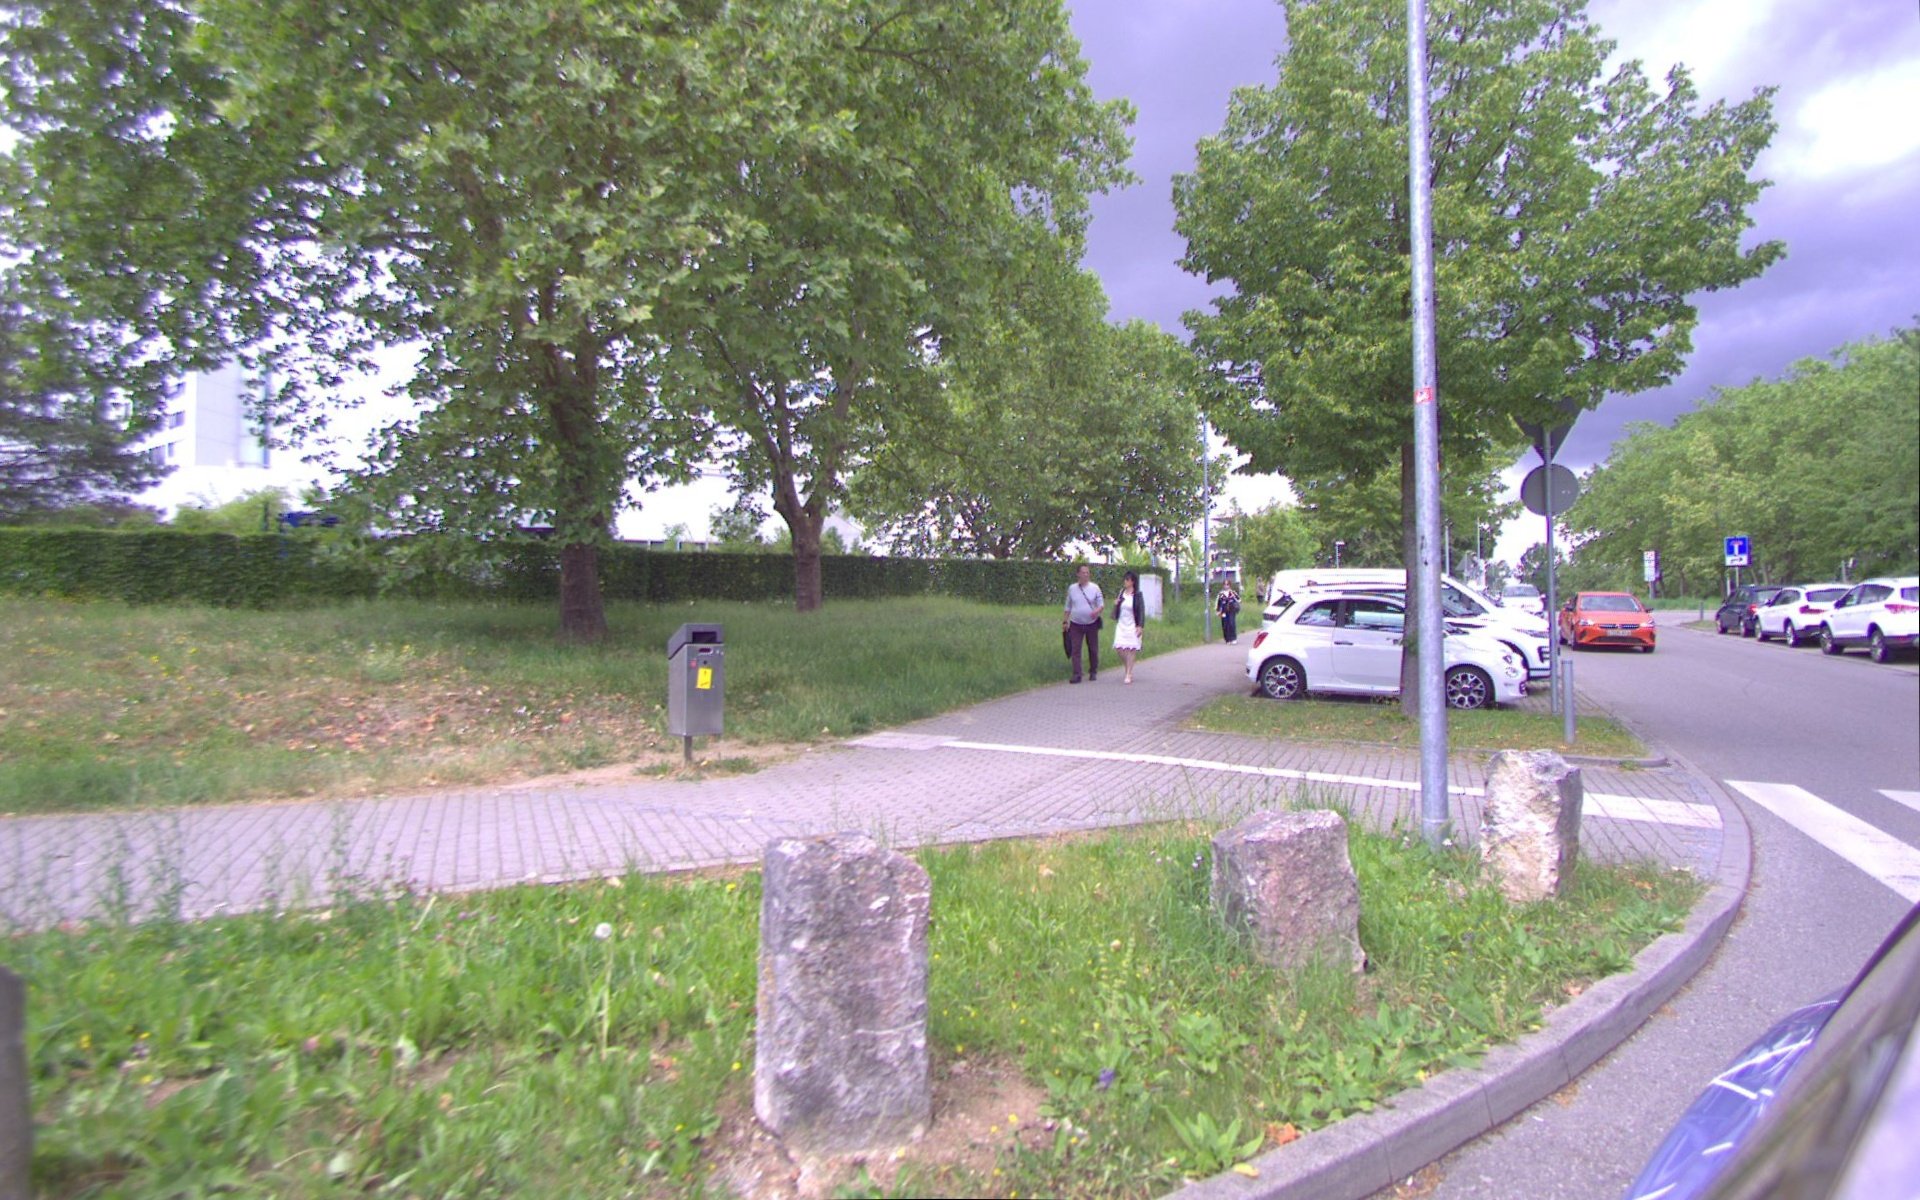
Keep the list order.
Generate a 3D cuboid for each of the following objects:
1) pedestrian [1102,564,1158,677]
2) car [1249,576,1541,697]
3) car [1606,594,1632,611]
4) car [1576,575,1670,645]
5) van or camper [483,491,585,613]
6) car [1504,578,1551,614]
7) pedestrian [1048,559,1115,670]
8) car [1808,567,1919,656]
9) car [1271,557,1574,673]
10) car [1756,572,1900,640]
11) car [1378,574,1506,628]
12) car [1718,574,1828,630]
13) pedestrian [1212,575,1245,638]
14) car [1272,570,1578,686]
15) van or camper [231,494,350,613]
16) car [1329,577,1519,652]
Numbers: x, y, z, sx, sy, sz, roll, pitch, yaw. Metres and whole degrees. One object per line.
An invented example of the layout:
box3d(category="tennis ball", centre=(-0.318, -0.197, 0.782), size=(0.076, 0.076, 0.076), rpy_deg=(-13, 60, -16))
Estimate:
box3d(category="pedestrian", centre=(2.580, 0.306, 15.364), size=(0.683, 1.678, 0.595), rpy_deg=(-1, -1, 25))
box3d(category="car", centre=(5.910, 0.437, 13.931), size=(3.488, 1.480, 1.723), rpy_deg=(0, 0, 26))
box3d(category="car", centre=(60.357, 0.227, 92.749), size=(1.745, 1.535, 3.957), rpy_deg=(-1, 0, 31))
box3d(category="car", centre=(16.595, 0.205, 25.473), size=(1.745, 1.534, 3.958), rpy_deg=(-1, 2, 31))
box3d(category="van or camper", centre=(-11.080, -1.122, 26.123), size=(2.072, 2.834, 4.486), rpy_deg=(-1, 0, -27))
box3d(category="car", centre=(25.607, -0.193, 45.644), size=(1.745, 1.534, 3.957), rpy_deg=(-1, 0, 31))
box3d(category="pedestrian", centre=(1.887, 0.225, 15.692), size=(0.863, 1.678, 0.588), rpy_deg=(-1, -1, 25))
box3d(category="car", centre=(19.677, 0.176, 21.160), size=(1.794, 1.686, 4.398), rpy_deg=(-4, -1, 25))
box3d(category="car", centre=(8.230, 0.179, 18.285), size=(4.746, 1.854, 1.825), rpy_deg=(2, 1, 29))
box3d(category="car", centre=(22.189, 0.136, 26.067), size=(1.677, 1.530, 4.193), rpy_deg=(-4, -1, 26))
box3d(category="car", centre=(15.614, 0.004, 32.853), size=(3.648, 1.667, 1.833), rpy_deg=(1, 1, 29))
box3d(category="car", centre=(24.440, 0.045, 30.576), size=(1.678, 1.506, 3.917), rpy_deg=(-4, -1, 26))
box3d(category="pedestrian", centre=(6.649, 0.163, 25.024), size=(0.671, 1.539, 0.701), rpy_deg=(-1, -1, 24))
box3d(category="car", centre=(7.143, 0.419, 15.858), size=(4.120, 1.623, 1.724), rpy_deg=(-1, 0, 25))
box3d(category="van or camper", centre=(-17.426, -1.108, 26.552), size=(2.072, 2.834, 4.486), rpy_deg=(-1, 0, -27))
box3d(category="car", centre=(10.585, 0.276, 23.277), size=(3.798, 1.538, 1.895), rpy_deg=(1, 1, 26))
